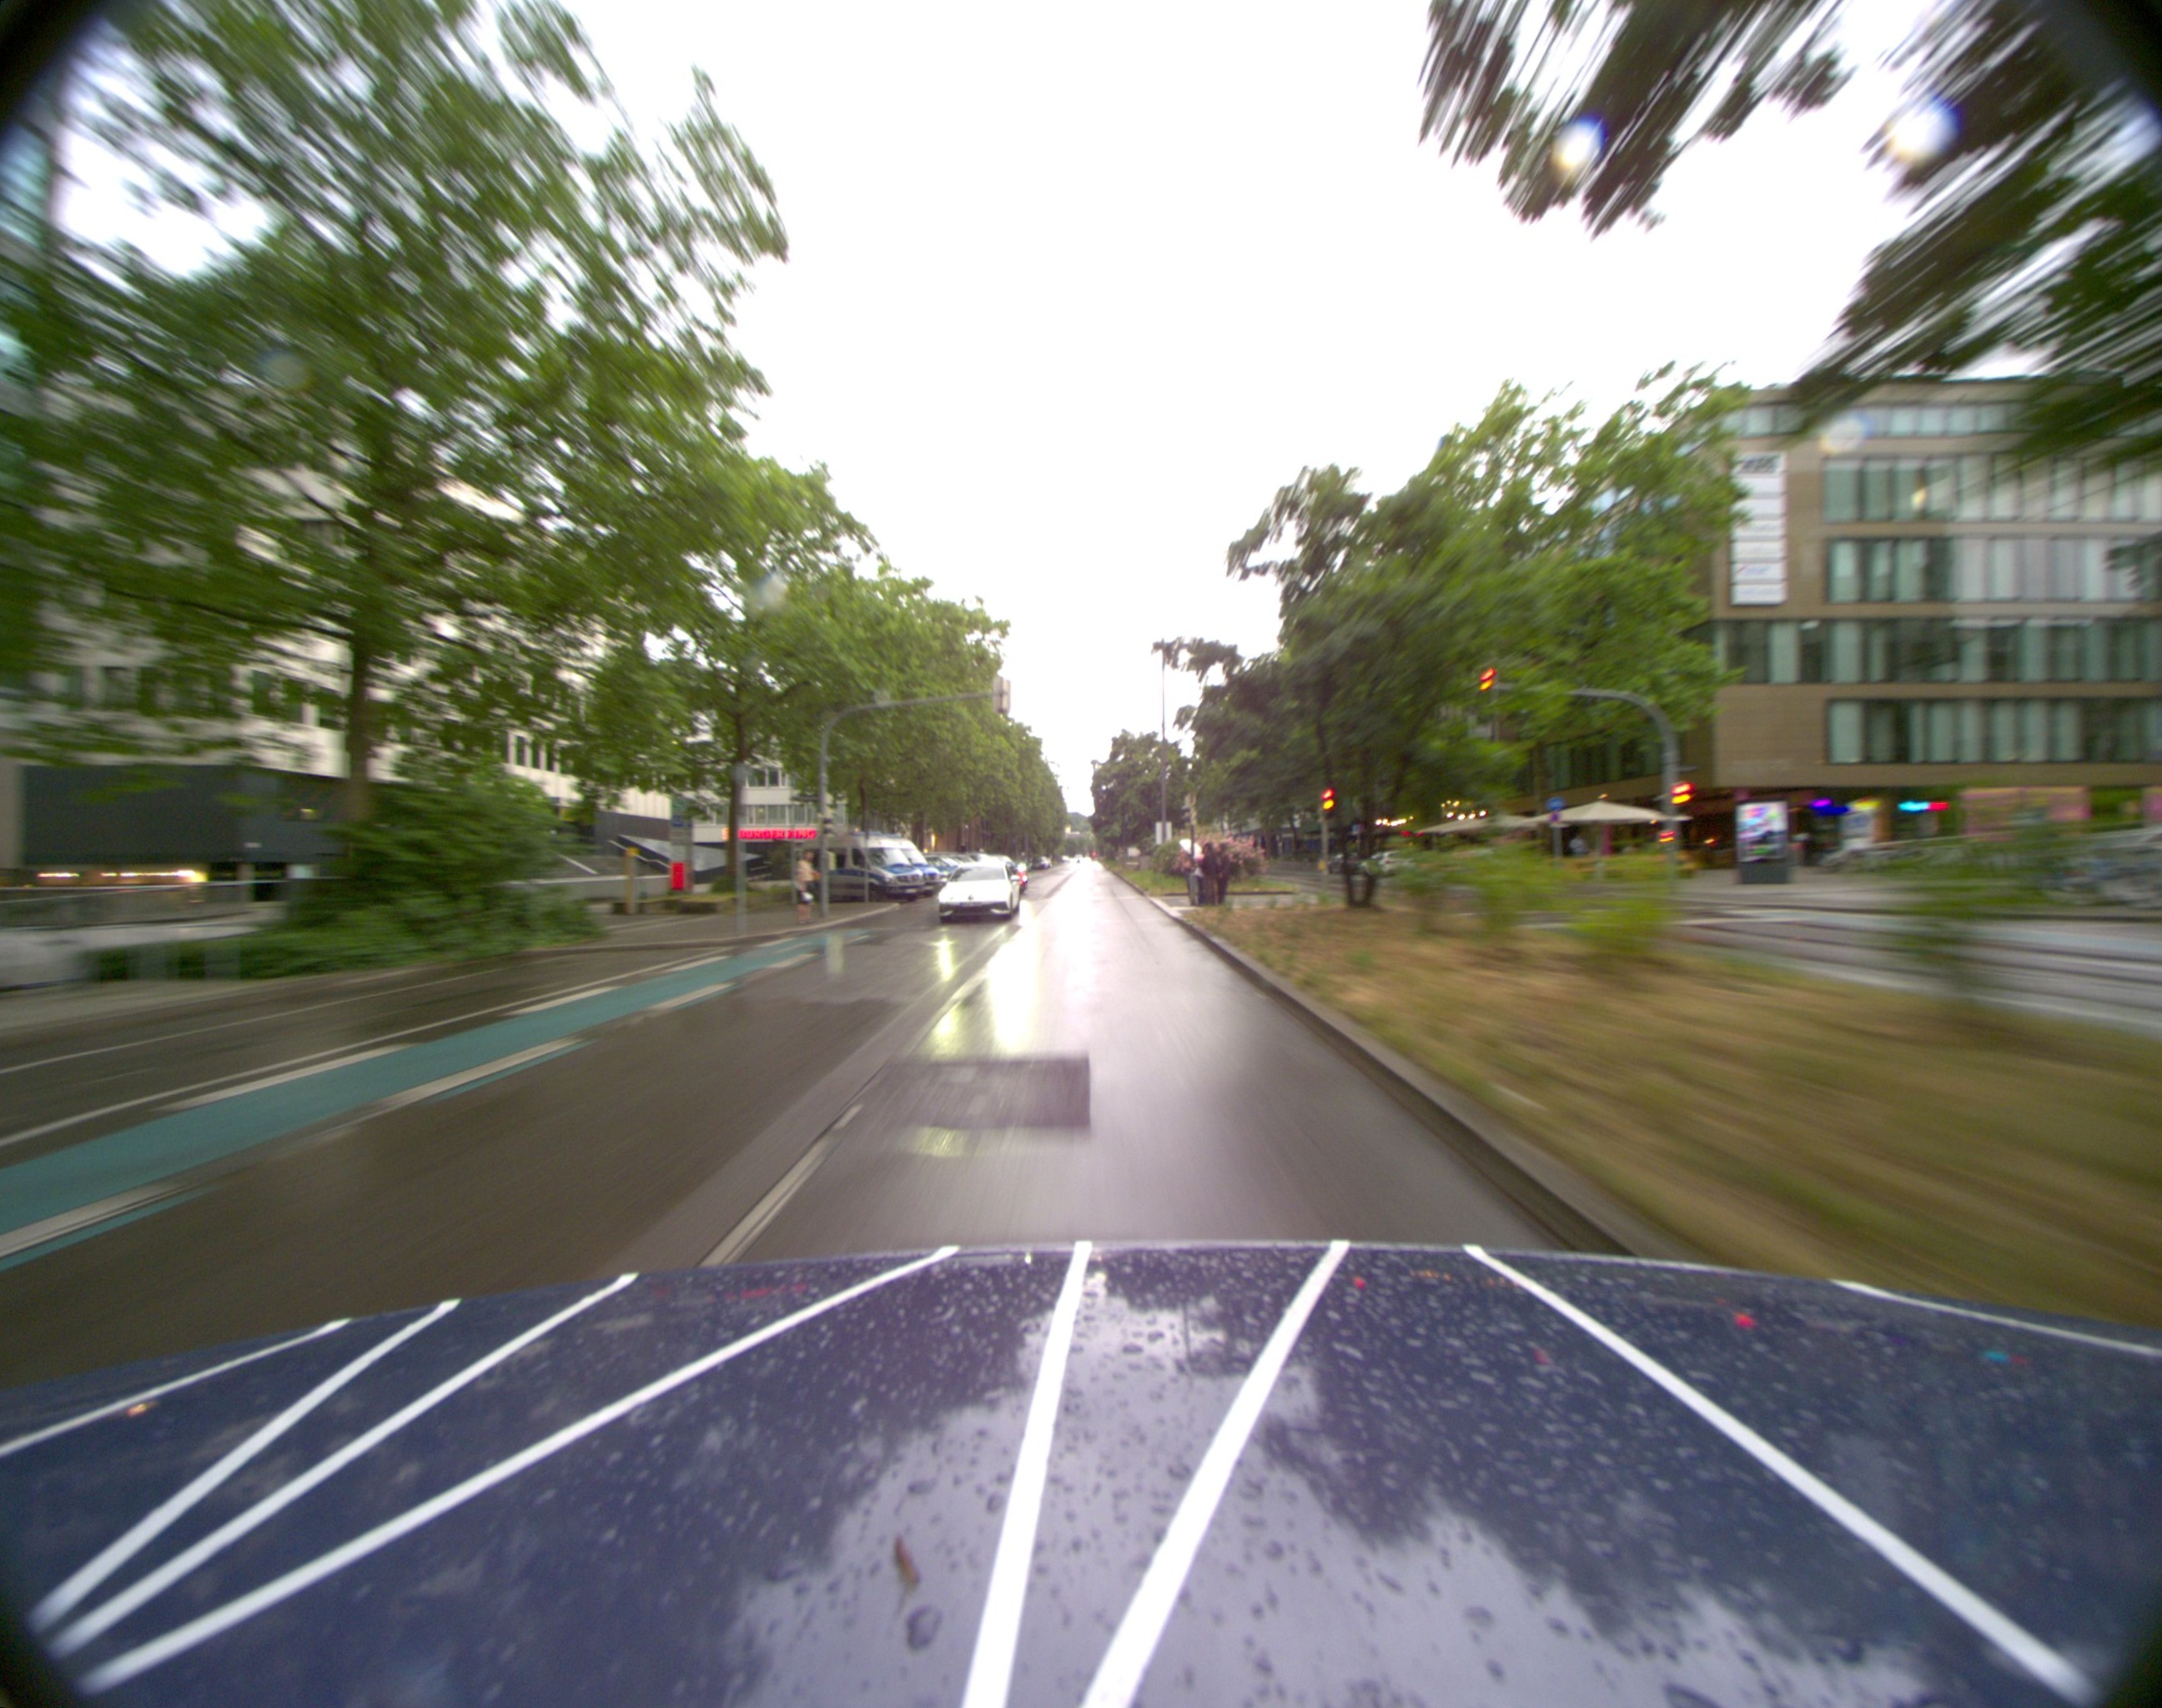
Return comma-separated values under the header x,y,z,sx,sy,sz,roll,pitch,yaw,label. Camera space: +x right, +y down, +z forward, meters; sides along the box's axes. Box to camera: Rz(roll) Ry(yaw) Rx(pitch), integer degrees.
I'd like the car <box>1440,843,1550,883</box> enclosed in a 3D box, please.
x,y,z,sx,sy,sz,roll,pitch,yaw,label
16.919,0.347,31.340,1.999,1.500,4.517,-1,0,-1,car

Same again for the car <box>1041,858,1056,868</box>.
x,y,z,sx,sy,sz,roll,pitch,yaw,label
-4.795,1.289,112.255,1.747,1.424,4.586,-2,0,1,car

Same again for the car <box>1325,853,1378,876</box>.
x,y,z,sx,sy,sz,roll,pitch,yaw,label
17.084,0.637,48.173,1.829,1.386,4.484,-1,0,1,car

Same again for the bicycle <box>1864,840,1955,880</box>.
x,y,z,sx,sy,sz,roll,pitch,yaw,label
26.761,0.190,24.554,2.393,1.239,0.689,-1,1,-6,bicycle

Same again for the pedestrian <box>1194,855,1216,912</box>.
x,y,z,sx,sy,sz,roll,pitch,yaw,label
3.186,0.743,19.554,0.424,1.442,0.385,-1,1,-17,pedestrian

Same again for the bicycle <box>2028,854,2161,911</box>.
x,y,z,sx,sy,sz,roll,pitch,yaw,label
18.536,0.514,13.859,1.849,0.973,0.566,-1,0,-2,bicycle

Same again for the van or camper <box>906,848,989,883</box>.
x,y,z,sx,sy,sz,roll,pitch,yaw,label
-8.223,0.731,46.507,5.093,2.013,2.110,-1,0,39,van or camper

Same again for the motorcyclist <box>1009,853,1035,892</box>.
x,y,z,sx,sy,sz,roll,pitch,yaw,label
-2.504,0.781,32.221,0.850,1.635,0.870,-2,0,-17,motorcyclist

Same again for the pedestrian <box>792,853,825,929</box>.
x,y,z,sx,sy,sz,roll,pitch,yaw,label
-6.699,0.902,18.707,0.607,1.820,0.564,-1,1,-8,pedestrian

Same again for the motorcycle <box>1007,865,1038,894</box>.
x,y,z,sx,sy,sz,roll,pitch,yaw,label
-2.487,1.066,32.180,0.869,1.136,2.019,-2,0,-17,motorcycle

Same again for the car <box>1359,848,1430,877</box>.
x,y,z,sx,sy,sz,roll,pitch,yaw,label
16.952,0.451,41.357,1.998,1.362,4.540,-3,0,1,car

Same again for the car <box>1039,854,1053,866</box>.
x,y,z,sx,sy,sz,roll,pitch,yaw,label
-4.686,0.791,101.270,1.756,1.576,4.409,-2,0,-3,car

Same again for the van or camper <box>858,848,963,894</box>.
x,y,z,sx,sy,sz,roll,pitch,yaw,label
-8.147,0.790,36.095,5.002,2.002,2.004,-1,2,37,van or camper

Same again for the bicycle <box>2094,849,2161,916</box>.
x,y,z,sx,sy,sz,roll,pitch,yaw,label
18.527,0.462,12.975,1.850,1.091,0.614,-1,0,-7,bicycle

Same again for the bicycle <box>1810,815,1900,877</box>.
x,y,z,sx,sy,sz,roll,pitch,yaw,label
26.838,-0.273,26.370,2.392,2.002,0.690,-3,1,-1,bicycle

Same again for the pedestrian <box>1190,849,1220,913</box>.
x,y,z,sx,sy,sz,roll,pitch,yaw,label
3.214,0.697,19.735,0.630,1.633,0.444,-1,1,-13,pedestrian

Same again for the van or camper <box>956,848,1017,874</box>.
x,y,z,sx,sy,sz,roll,pitch,yaw,label
-7.989,0.617,64.107,5.074,2.007,2.001,-2,0,38,van or camper

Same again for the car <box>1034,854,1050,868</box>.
x,y,z,sx,sy,sz,roll,pitch,yaw,label
-4.904,0.884,96.293,1.797,1.593,4.423,-2,0,0,car

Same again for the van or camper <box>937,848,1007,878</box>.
x,y,z,sx,sy,sz,roll,pitch,yaw,label
-7.719,0.650,53.487,4.781,1.999,2.004,-1,1,37,van or camper

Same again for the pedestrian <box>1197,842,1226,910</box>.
x,y,z,sx,sy,sz,roll,pitch,yaw,label
3.303,0.557,19.247,0.575,1.688,0.404,-1,1,-11,pedestrian

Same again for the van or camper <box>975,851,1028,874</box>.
x,y,z,sx,sy,sz,roll,pitch,yaw,label
-7.483,0.788,71.149,4.933,1.980,2.006,-2,1,39,van or camper

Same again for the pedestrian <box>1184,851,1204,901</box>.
x,y,z,sx,sy,sz,roll,pitch,yaw,label
3.426,0.664,22.965,0.482,1.480,0.545,-1,1,19,pedestrian

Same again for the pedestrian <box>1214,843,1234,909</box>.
x,y,z,sx,sy,sz,roll,pitch,yaw,label
3.739,0.578,19.885,0.400,1.710,0.325,-1,1,-13,pedestrian

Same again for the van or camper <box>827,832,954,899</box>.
x,y,z,sx,sy,sz,roll,pitch,yaw,label
-8.298,0.497,32.808,5.795,2.664,2.004,-1,0,37,van or camper

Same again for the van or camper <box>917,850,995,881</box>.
x,y,z,sx,sy,sz,roll,pitch,yaw,label
-8.315,0.769,50.273,5.010,1.984,2.004,-1,1,34,van or camper

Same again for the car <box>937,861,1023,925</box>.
x,y,z,sx,sy,sz,roll,pitch,yaw,label
-2.573,0.943,20.355,1.866,1.436,4.508,-2,0,-3,car

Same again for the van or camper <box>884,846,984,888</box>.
x,y,z,sx,sy,sz,roll,pitch,yaw,label
-7.715,0.695,39.581,5.195,1.981,2.004,-2,1,36,van or camper

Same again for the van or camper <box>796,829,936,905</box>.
x,y,z,sx,sy,sz,roll,pitch,yaw,label
-8.433,0.498,29.508,5.800,2.662,2.151,-1,1,39,van or camper
